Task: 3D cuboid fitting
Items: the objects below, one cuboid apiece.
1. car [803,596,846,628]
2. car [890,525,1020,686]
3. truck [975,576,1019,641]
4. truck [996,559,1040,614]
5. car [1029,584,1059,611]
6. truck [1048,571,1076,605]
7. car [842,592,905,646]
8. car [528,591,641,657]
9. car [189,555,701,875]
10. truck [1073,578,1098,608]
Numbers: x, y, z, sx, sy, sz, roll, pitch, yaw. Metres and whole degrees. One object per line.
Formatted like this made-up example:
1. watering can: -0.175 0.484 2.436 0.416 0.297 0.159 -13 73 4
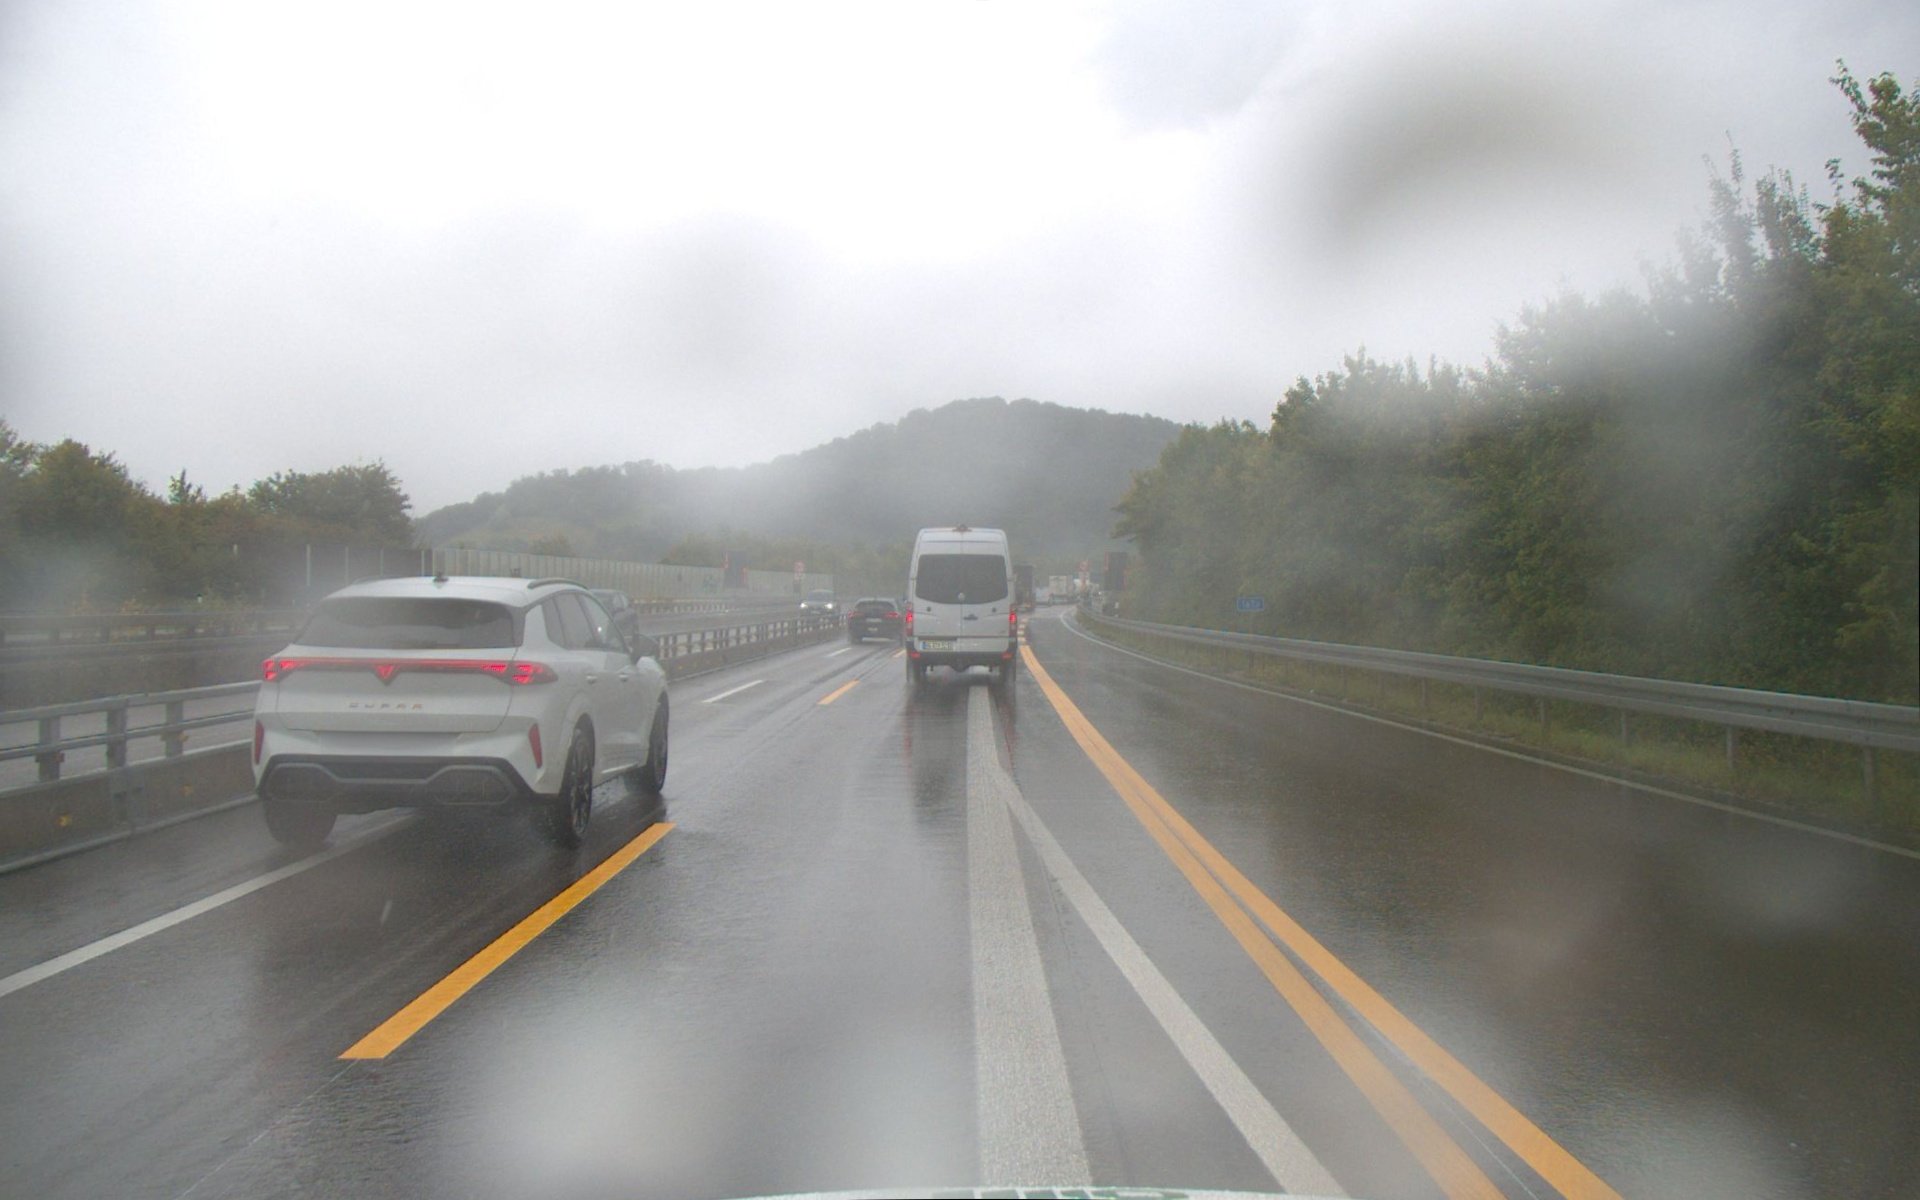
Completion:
1. car: -7.208 0.624 88.433 1.741 1.632 4.318 1 0 2
2. car: -0.023 0.101 30.069 2.100 2.616 5.390 1 0 1
3. truck: 1.958 0.435 85.313 1.952 3.163 8.501 1 0 3
4. truck: 5.005 -1.120 142.561 3.507 4.483 9.626 1 0 2
5. car: 9.681 -0.247 190.442 2.837 2.938 6.416 1 0 8
6. truck: 14.054 -1.646 226.889 2.971 4.483 9.631 1 0 8
7. car: -2.781 0.590 52.837 1.908 1.588 3.997 1 0 -4
8. car: -9.340 0.583 41.455 1.809 1.529 4.130 1 0 0
9. car: -3.097 0.620 11.143 1.953 1.646 4.795 1 0 -1
10. truck: 19.709 -1.086 259.856 2.836 4.483 9.632 1 0 10
